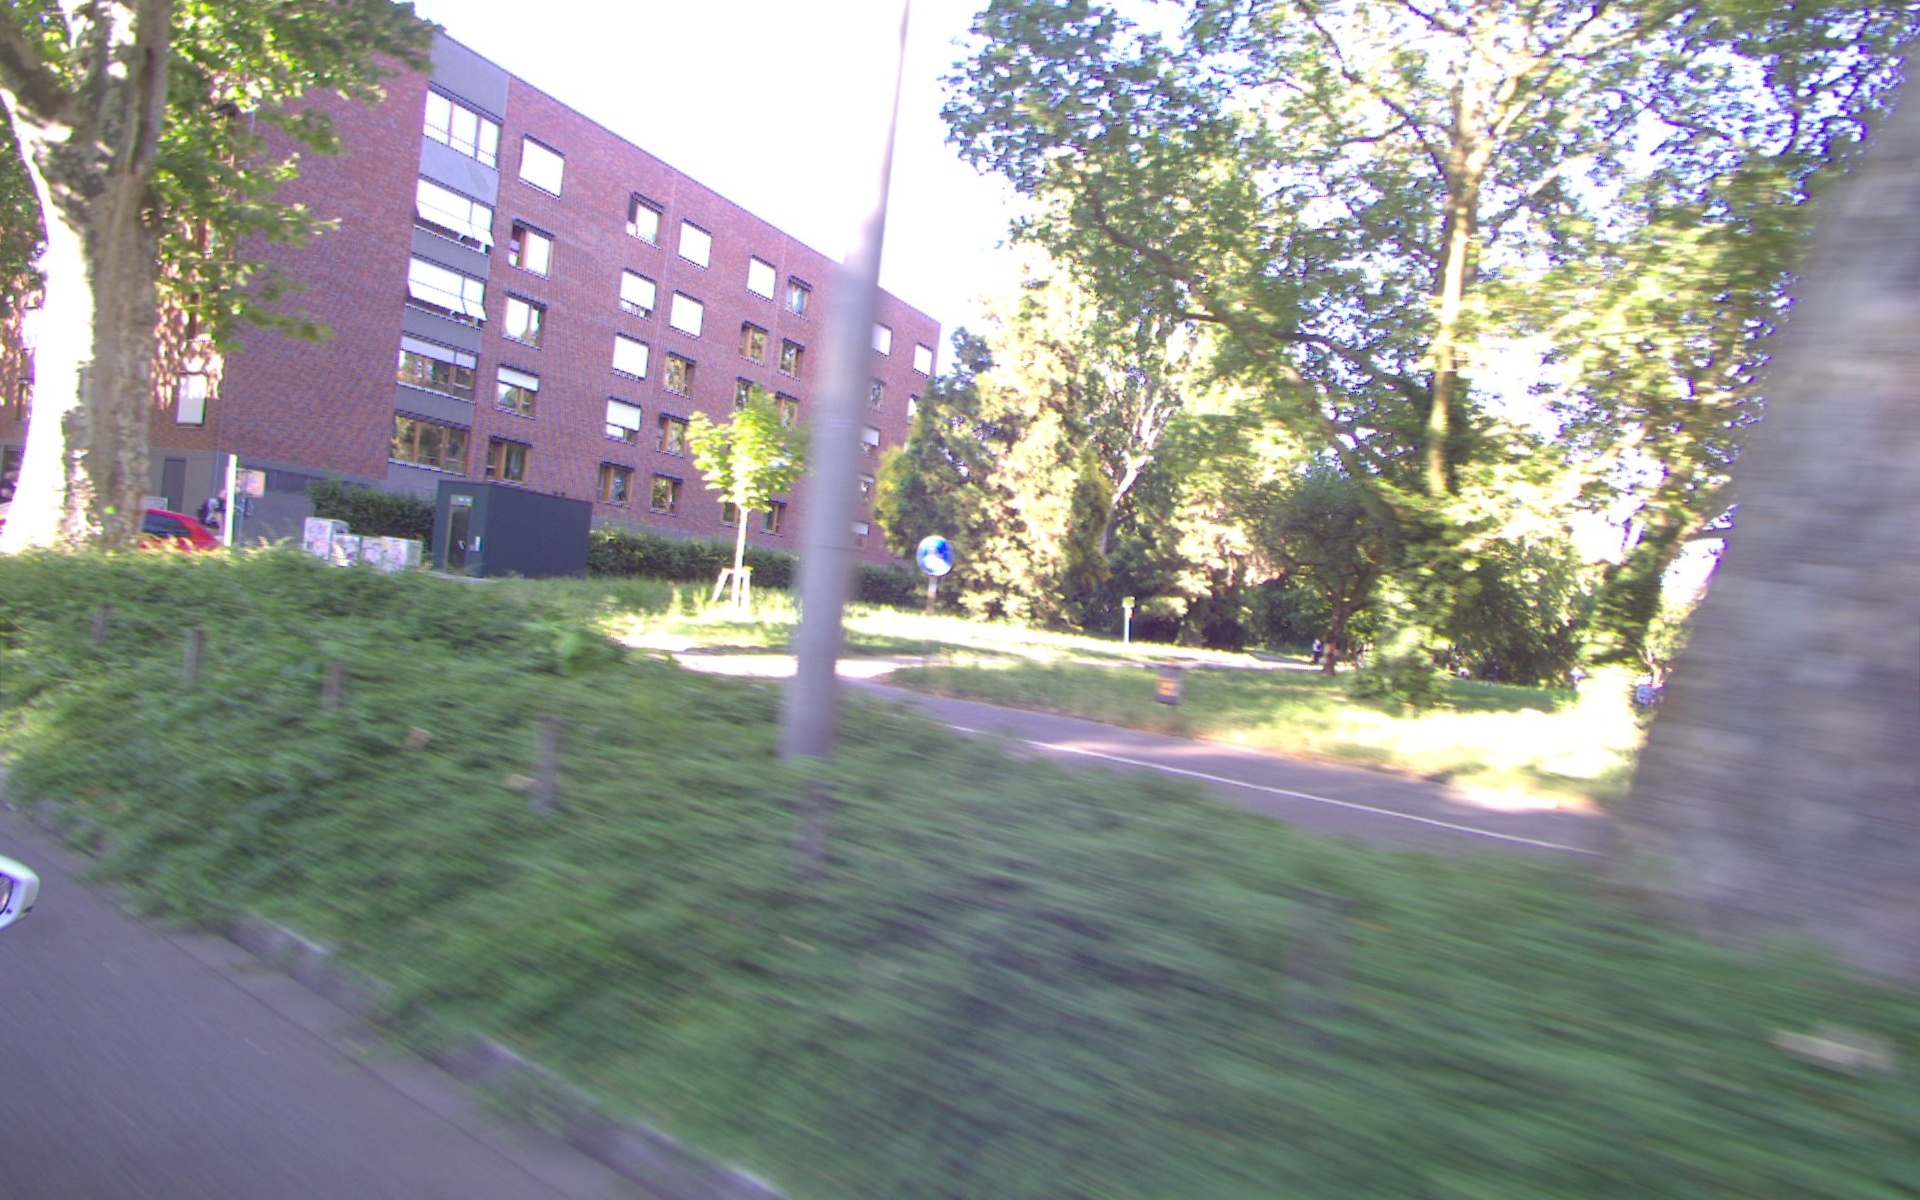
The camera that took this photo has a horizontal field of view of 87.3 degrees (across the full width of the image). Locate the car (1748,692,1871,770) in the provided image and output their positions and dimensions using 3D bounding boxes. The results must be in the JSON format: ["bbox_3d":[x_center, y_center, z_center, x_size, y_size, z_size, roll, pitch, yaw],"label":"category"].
[{"bbox_3d":[22.690,3.431,27.019,1.655,1.601,3.922,7,1,29],"label":"car"}]

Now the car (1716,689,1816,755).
[{"bbox_3d":[25.241,3.778,31.638,1.655,1.601,3.922,7,1,29],"label":"car"}]

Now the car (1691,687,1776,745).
[{"bbox_3d":[27.234,4.050,35.526,1.655,1.601,3.922,7,1,29],"label":"car"}]

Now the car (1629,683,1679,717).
[{"bbox_3d":[39.236,5.641,56.943,1.769,1.529,3.992,7,1,29],"label":"car"}]

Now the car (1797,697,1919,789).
[{"bbox_3d":[20.525,3.169,22.696,1.655,1.601,3.922,7,1,29],"label":"car"}]

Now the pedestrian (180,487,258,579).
[{"bbox_3d":[-16.122,-1.442,21.900,0.998,1.890,0.983,7,5,26],"label":"pedestrian"}]

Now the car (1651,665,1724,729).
[{"bbox_3d":[34.164,4.486,47.390,1.942,2.595,5.035,7,1,29],"label":"car"}]

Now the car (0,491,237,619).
[{"bbox_3d":[-12.147,-0.654,13.245,1.622,1.441,3.886,7,0,34],"label":"car"}]

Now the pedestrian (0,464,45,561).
[{"bbox_3d":[-18.915,-1.757,19.806,0.849,1.834,0.996,7,2,26],"label":"pedestrian"}]

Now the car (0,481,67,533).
[{"bbox_3d":[-32.792,-3.288,34.965,3.359,1.514,1.602,7,1,30],"label":"car"}]

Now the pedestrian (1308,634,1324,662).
[{"bbox_3d":[22.517,3.008,63.558,0.639,1.682,0.648,7,2,32],"label":"pedestrian"}]

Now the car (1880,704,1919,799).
[{"bbox_3d":[17.801,2.795,17.482,1.655,1.601,3.922,7,1,29],"label":"car"}]

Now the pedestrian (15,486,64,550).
[{"bbox_3d":[-26.460,-2.354,28.918,0.820,1.690,0.736,7,1,31],"label":"pedestrian"}]
